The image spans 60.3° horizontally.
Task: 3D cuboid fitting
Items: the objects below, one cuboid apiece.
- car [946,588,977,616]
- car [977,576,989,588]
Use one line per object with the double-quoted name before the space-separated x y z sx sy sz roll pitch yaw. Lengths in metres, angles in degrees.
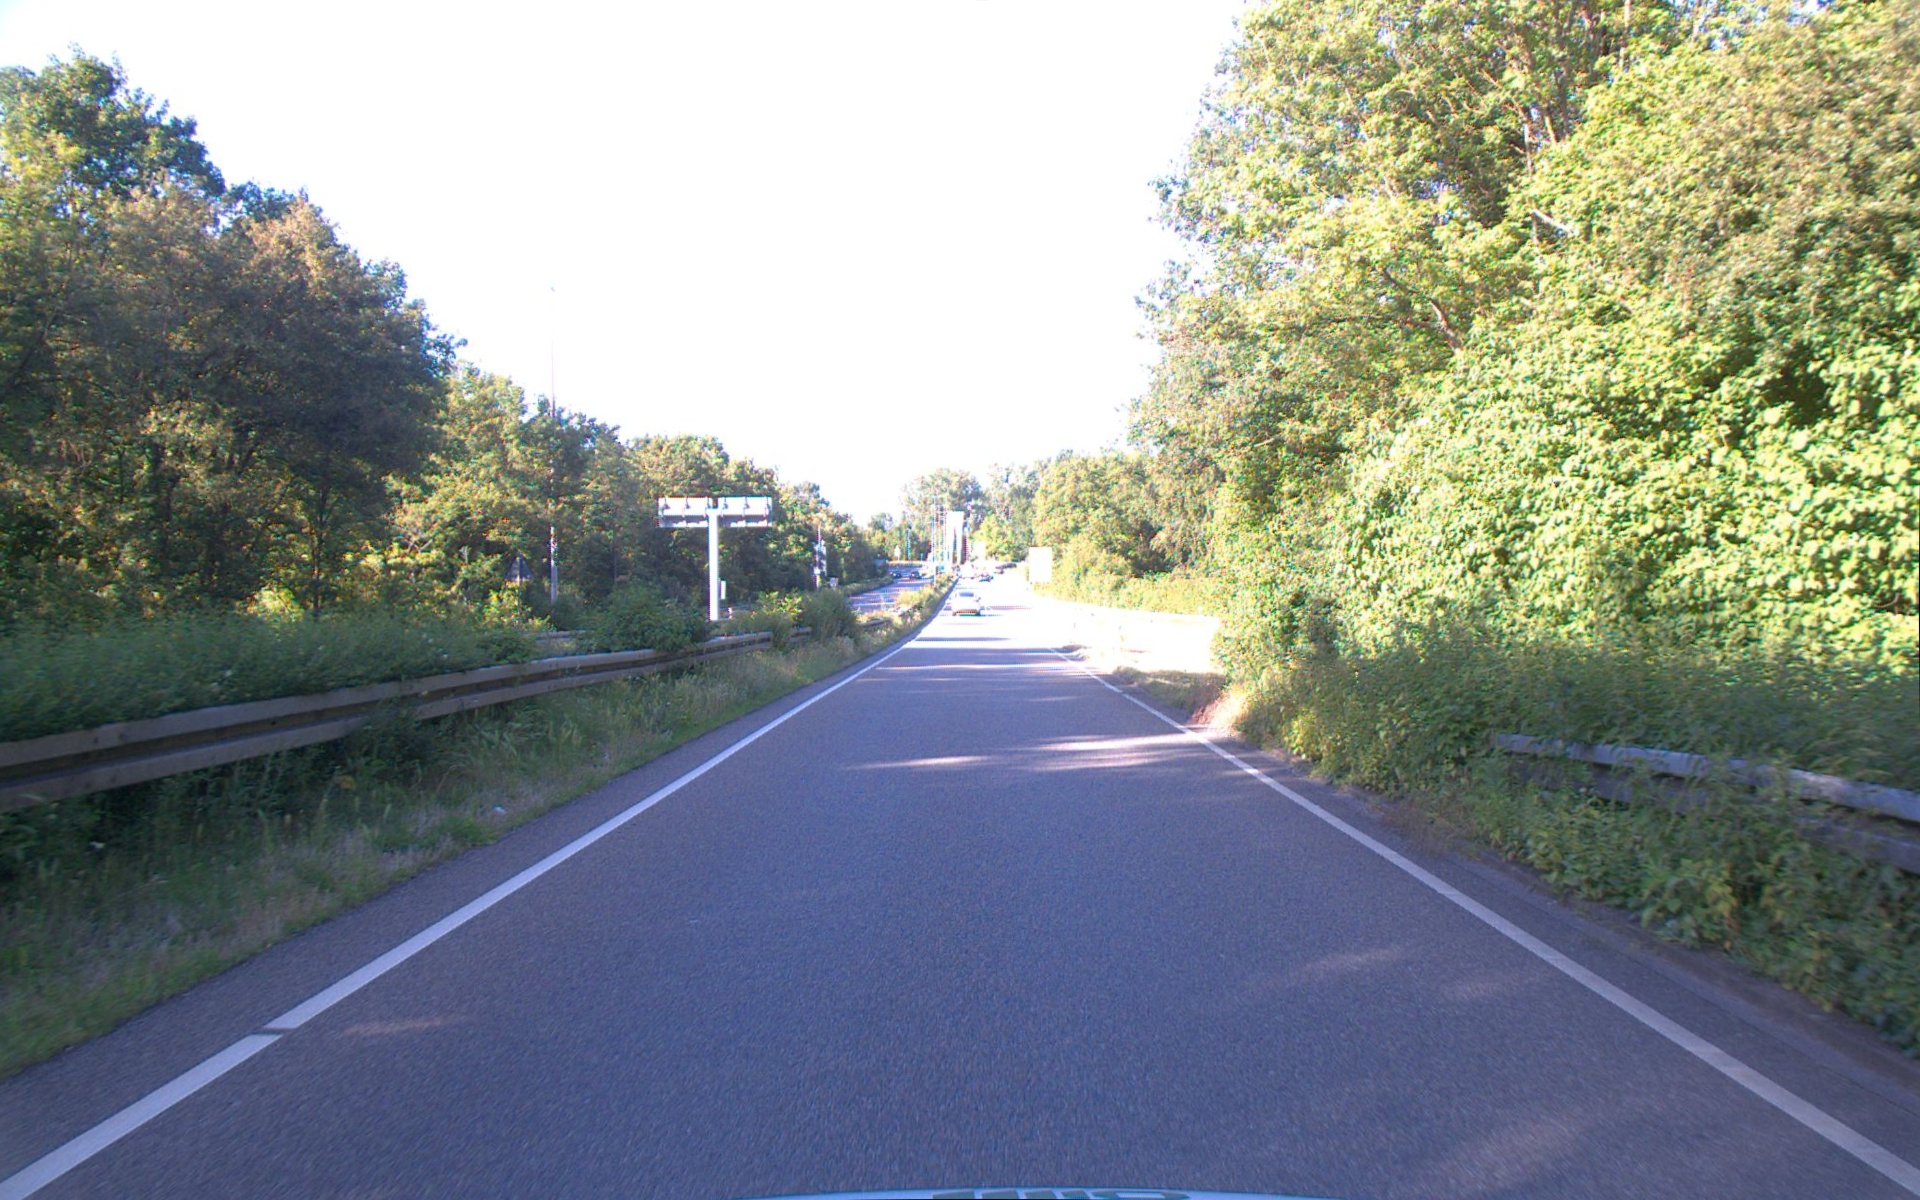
"car" 0.074 0.128 112.329 1.847 1.847 3.998 1 0 -3
"car" 3.595 -2.792 260.819 1.760 1.861 3.418 2 0 2
